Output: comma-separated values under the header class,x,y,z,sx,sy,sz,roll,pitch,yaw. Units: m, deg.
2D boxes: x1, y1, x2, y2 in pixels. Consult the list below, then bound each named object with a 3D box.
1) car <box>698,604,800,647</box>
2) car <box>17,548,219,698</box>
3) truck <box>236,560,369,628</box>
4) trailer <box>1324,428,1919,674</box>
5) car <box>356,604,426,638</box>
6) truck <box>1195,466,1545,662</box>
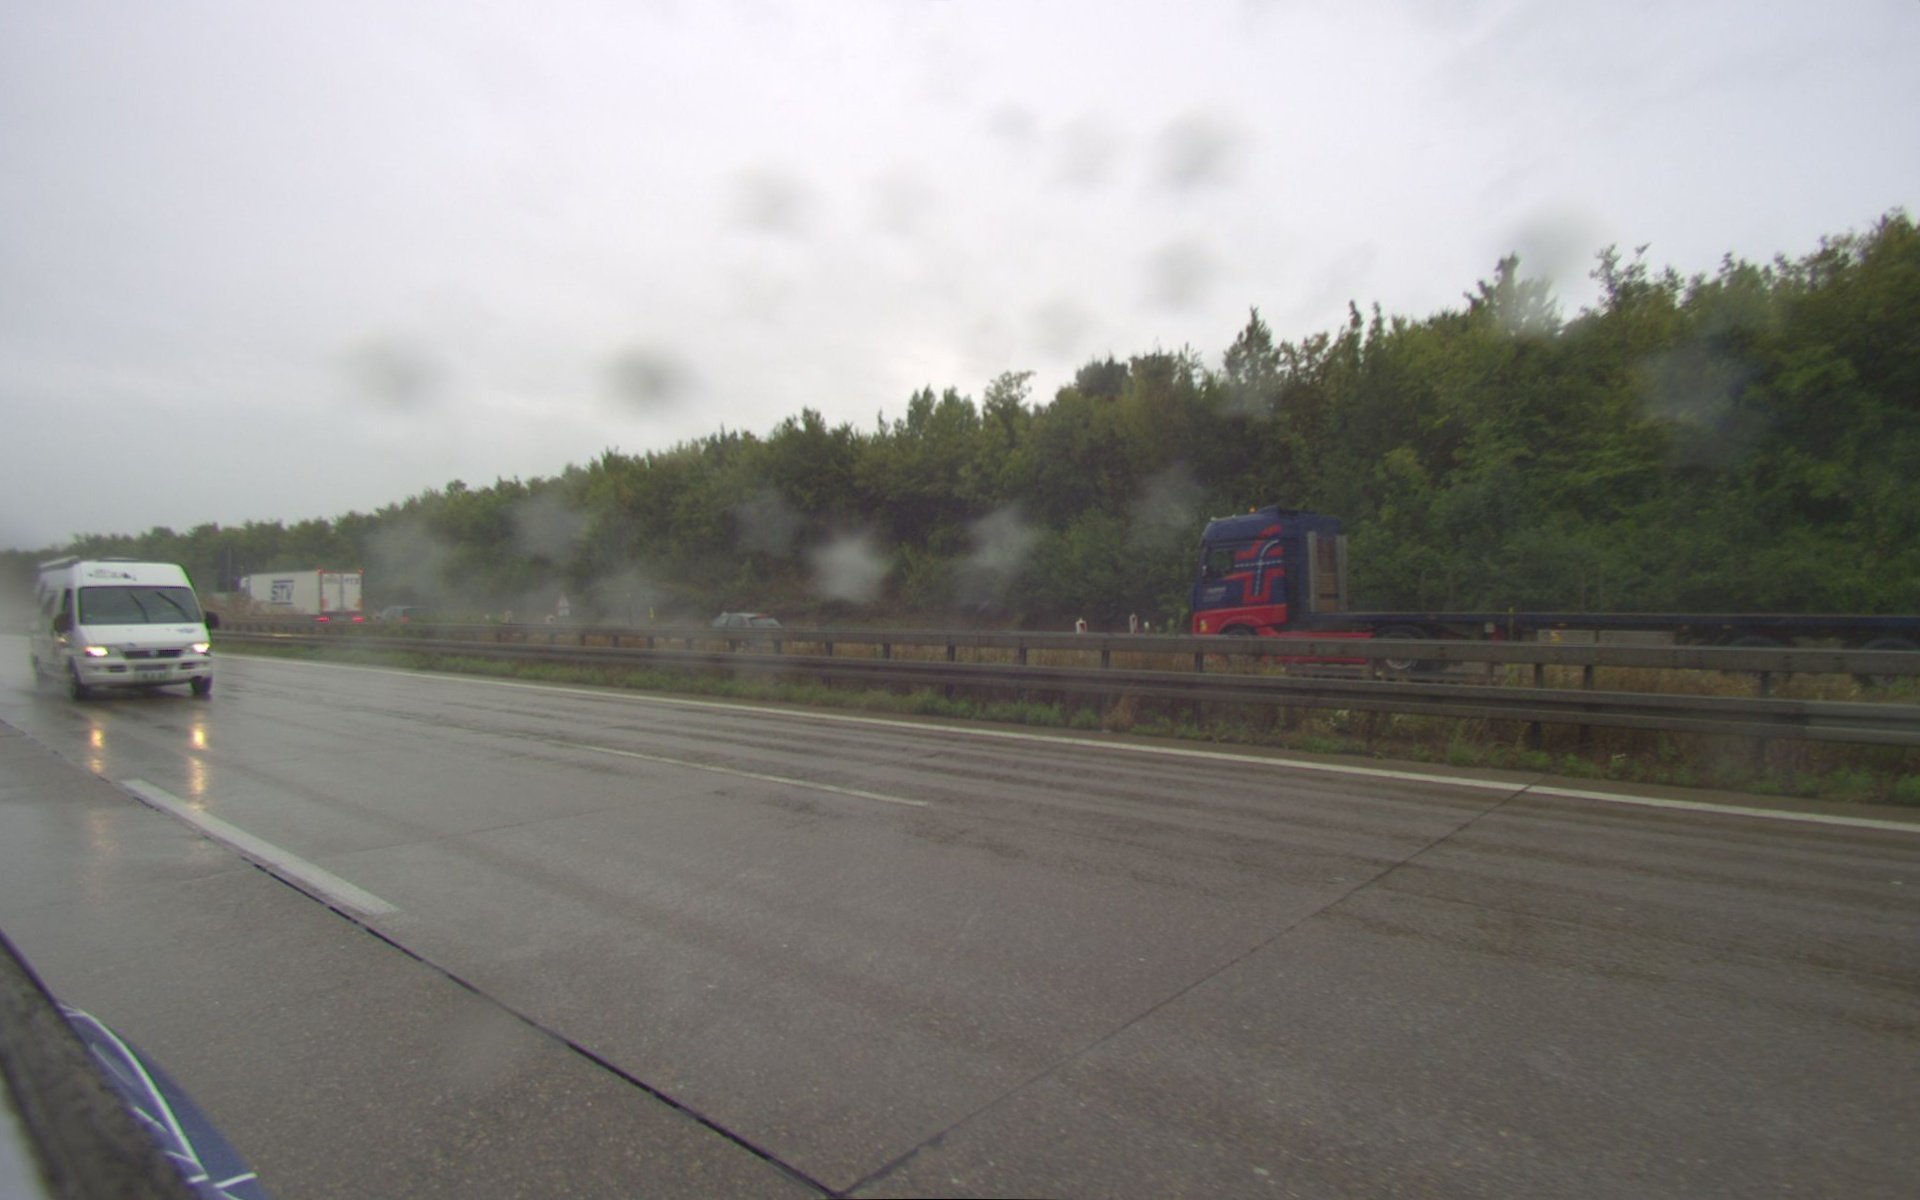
class,x,y,z,sx,sy,sz,roll,pitch,yaw
car,-7.029,0.835,33.570,3.316,1.322,1.649,-1,0,41
car,-16.036,0.411,19.143,5.786,2.450,1.977,-1,0,40
truck,-46.261,-0.271,70.771,16.356,4.277,3.093,-1,0,40
trailer,13.899,-0.740,19.322,12.869,3.885,3.102,-1,-1,43
car,-29.440,1.063,52.343,3.998,1.671,1.927,-1,0,41
truck,9.325,-0.675,23.544,6.885,3.885,3.102,-1,-1,43
